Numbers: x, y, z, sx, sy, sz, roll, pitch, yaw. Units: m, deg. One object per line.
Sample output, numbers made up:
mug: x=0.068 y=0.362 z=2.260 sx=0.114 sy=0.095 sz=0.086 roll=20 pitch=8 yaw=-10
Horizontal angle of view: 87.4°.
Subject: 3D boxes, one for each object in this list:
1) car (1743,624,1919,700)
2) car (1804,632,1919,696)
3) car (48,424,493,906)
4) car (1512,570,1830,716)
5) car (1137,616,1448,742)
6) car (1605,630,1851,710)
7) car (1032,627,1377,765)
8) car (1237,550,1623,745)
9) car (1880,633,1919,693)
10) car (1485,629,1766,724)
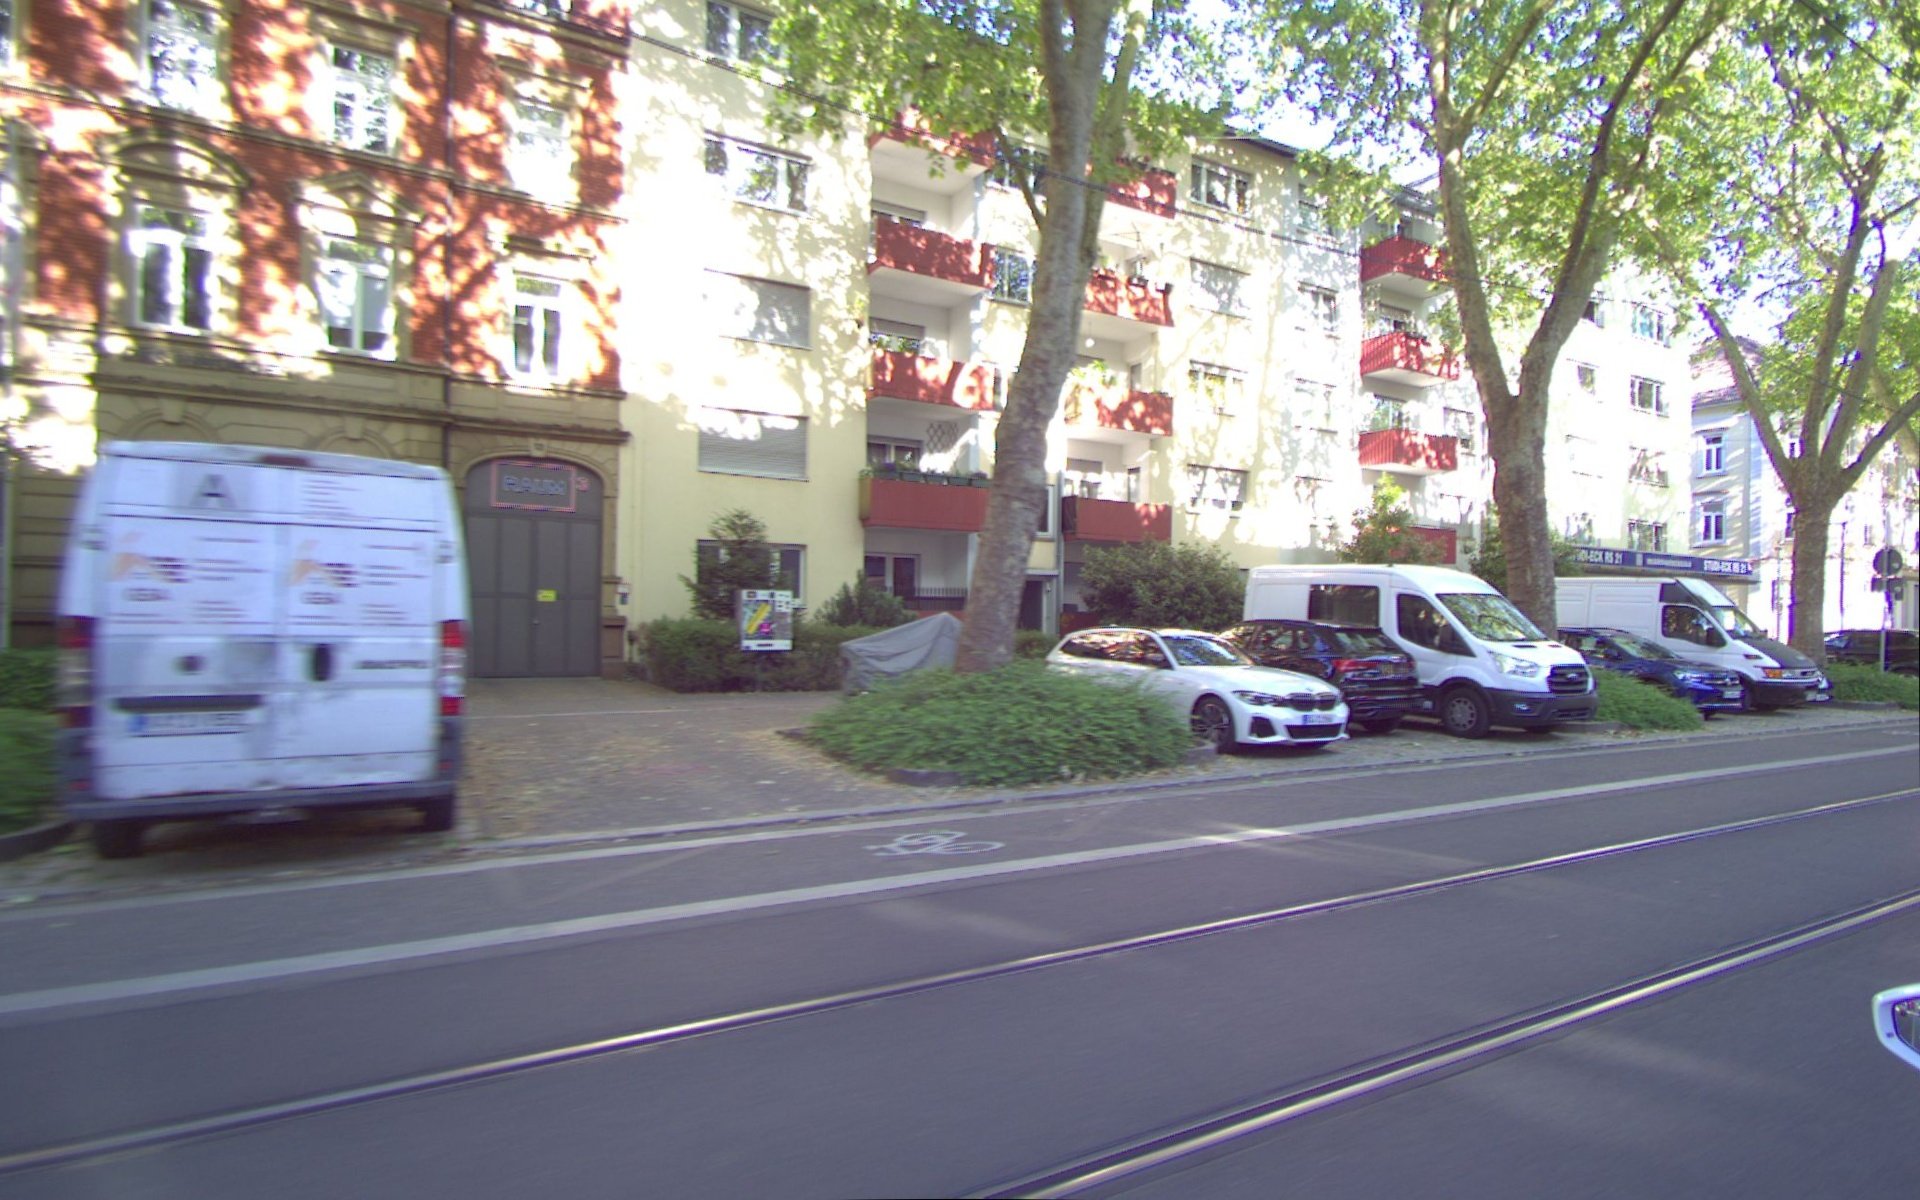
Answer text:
car: x=21.716 y=1.451 z=24.321 sx=1.872 sy=1.669 sz=3.967 roll=1 pitch=-1 yaw=-30
car: x=24.148 y=1.608 z=25.396 sx=1.751 sy=1.542 sz=3.967 roll=1 pitch=-1 yaw=-30
car: x=-5.300 y=0.360 z=8.395 sx=2.136 sy=2.570 sz=5.715 roll=1 pitch=0 yaw=-29
car: x=14.285 y=0.814 z=20.512 sx=2.060 sy=2.601 sz=4.916 roll=1 pitch=-1 yaw=-32
car: x=4.792 y=1.057 z=15.125 sx=1.850 sy=1.559 sz=4.351 roll=1 pitch=-1 yaw=-29
car: x=16.415 y=1.436 z=21.656 sx=1.839 sy=1.498 sz=3.836 roll=1 pitch=-1 yaw=-30
car: x=2.953 y=1.095 z=13.138 sx=1.910 sy=1.403 sz=4.390 roll=1 pitch=-1 yaw=-29
car: x=7.015 y=0.657 z=15.736 sx=2.032 sy=2.510 sz=5.337 roll=1 pitch=-1 yaw=-29
car: x=26.143 y=1.641 z=25.794 sx=1.768 sy=1.551 sz=3.411 roll=1 pitch=-1 yaw=-32
car: x=12.257 y=1.333 z=18.773 sx=1.849 sy=1.485 sz=4.002 roll=1 pitch=-1 yaw=-29
